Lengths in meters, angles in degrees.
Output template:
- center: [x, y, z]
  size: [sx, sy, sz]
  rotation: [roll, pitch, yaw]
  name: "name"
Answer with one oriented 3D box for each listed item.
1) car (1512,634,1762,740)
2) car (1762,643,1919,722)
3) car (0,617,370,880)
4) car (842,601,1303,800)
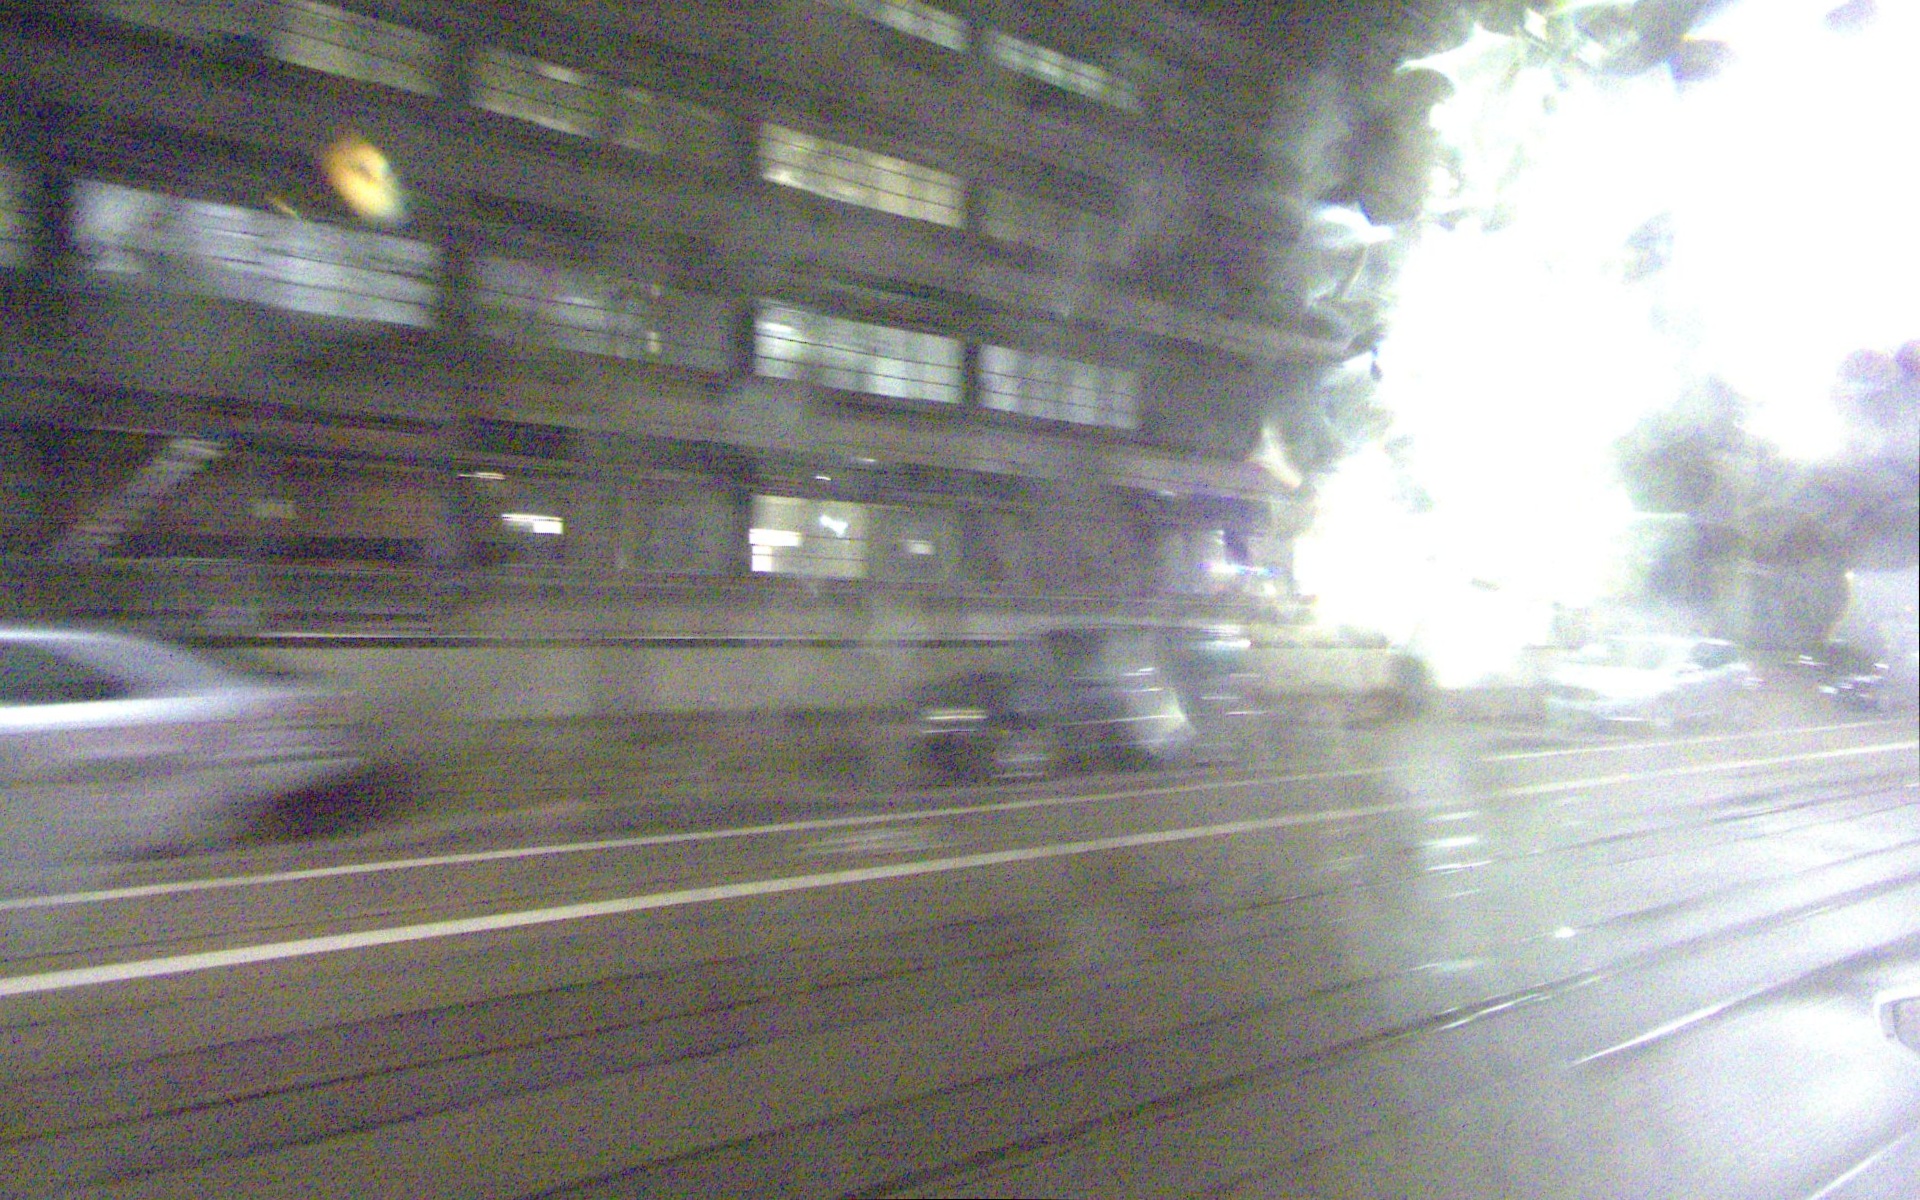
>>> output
- center: [10.943, 1.322, 16.135]
  size: [4.560, 1.459, 1.762]
  rotation: [2, -1, -34]
  name: "car"
- center: [18.785, 1.679, 21.115]
  size: [4.165, 1.442, 1.829]
  rotation: [2, -1, -33]
  name: "car"
- center: [-6.363, 0.853, 6.241]
  size: [4.572, 1.457, 1.723]
  rotation: [2, -1, -30]
  name: "car"
- center: [1.268, 0.965, 10.863]
  size: [4.537, 1.641, 2.132]
  rotation: [2, 1, -31]
  name: "car"
